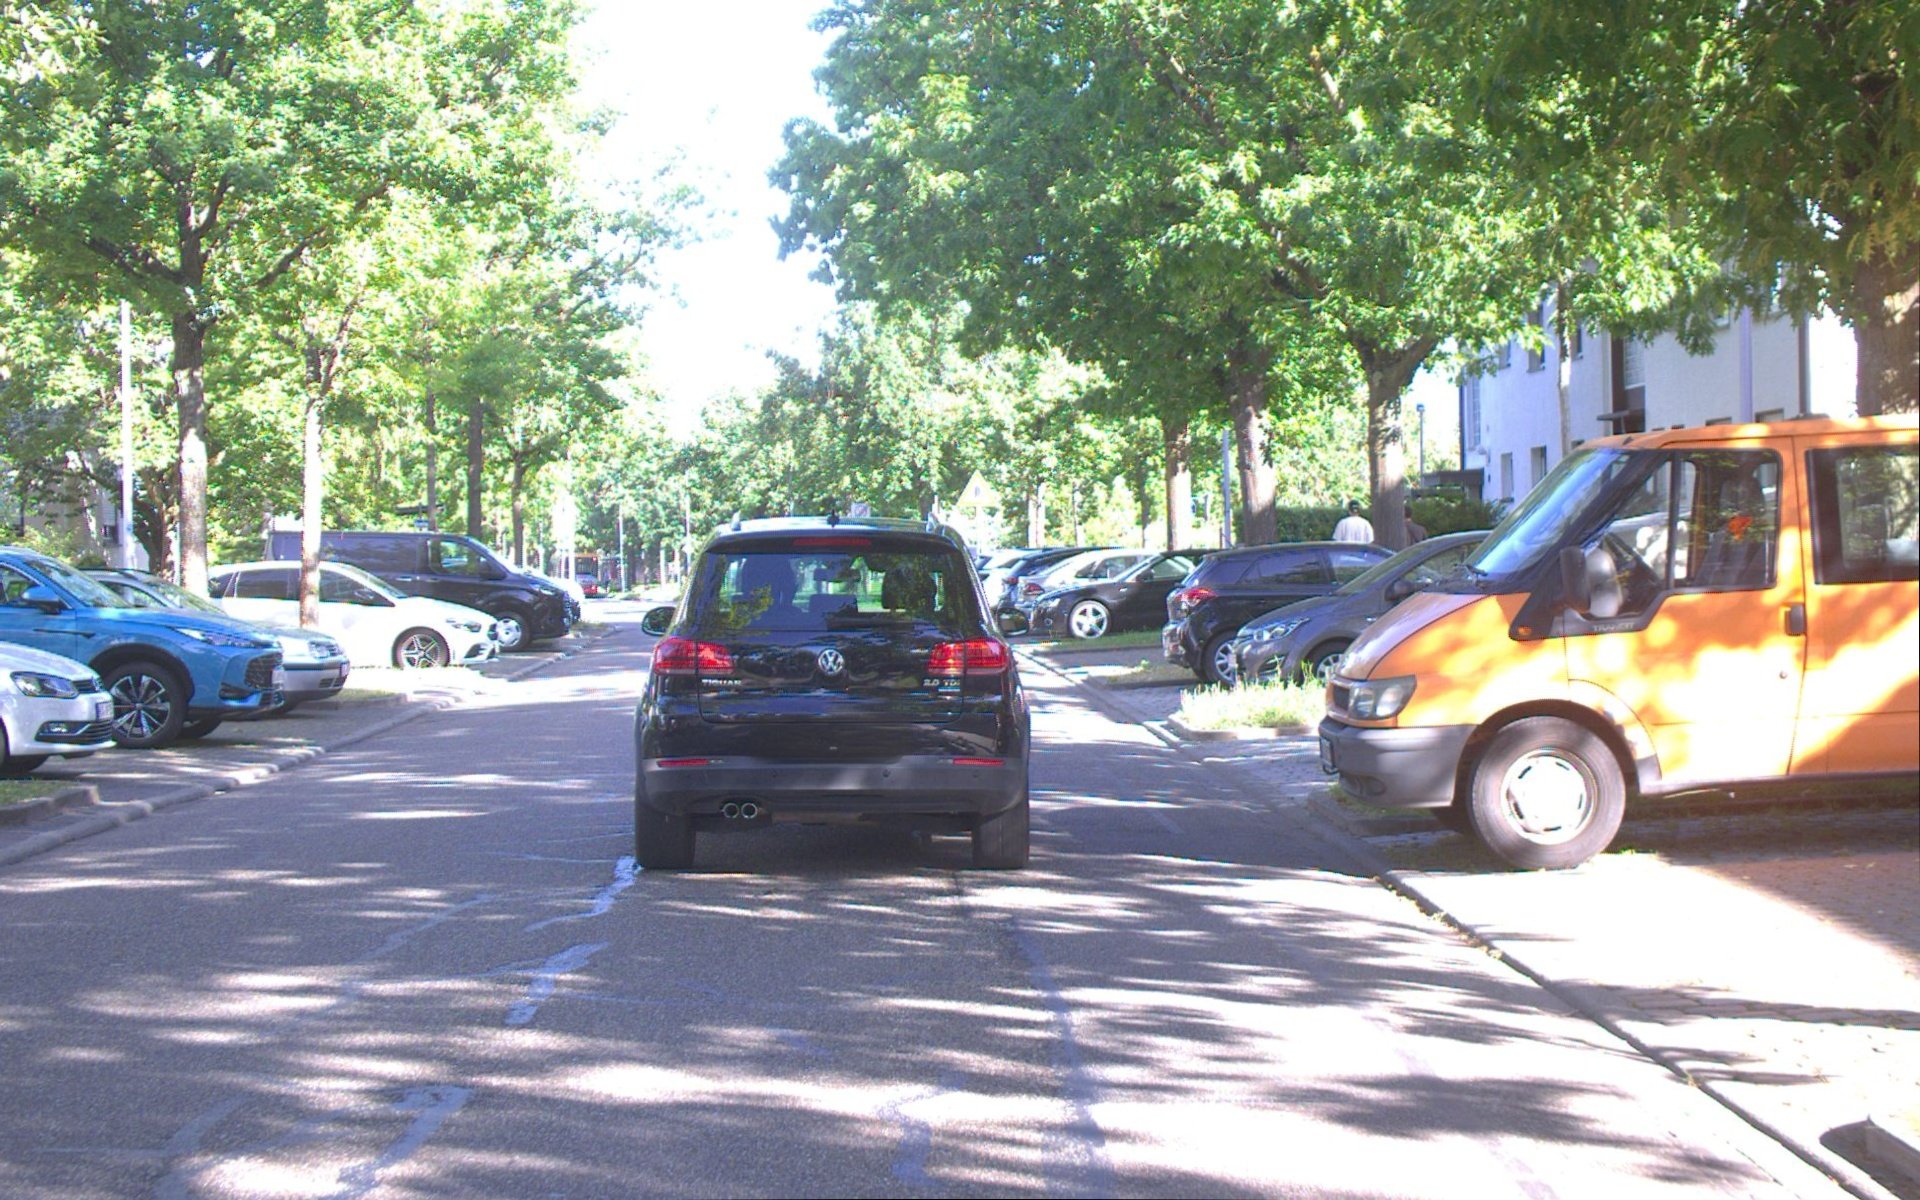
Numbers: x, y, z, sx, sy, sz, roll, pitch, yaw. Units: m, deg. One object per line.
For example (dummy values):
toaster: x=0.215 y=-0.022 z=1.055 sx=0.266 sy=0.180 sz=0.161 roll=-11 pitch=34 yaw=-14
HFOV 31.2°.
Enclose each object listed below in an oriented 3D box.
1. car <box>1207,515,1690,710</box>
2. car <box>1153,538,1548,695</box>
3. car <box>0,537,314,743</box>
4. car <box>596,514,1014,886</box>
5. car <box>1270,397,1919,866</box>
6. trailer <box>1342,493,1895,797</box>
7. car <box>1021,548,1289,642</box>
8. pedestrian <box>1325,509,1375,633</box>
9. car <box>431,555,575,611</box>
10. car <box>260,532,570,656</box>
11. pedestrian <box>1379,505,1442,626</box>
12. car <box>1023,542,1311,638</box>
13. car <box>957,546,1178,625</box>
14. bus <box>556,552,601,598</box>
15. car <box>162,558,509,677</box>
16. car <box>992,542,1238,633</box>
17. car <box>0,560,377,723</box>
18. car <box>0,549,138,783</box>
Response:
car: x=4.340 y=0.109 z=30.901 sx=3.986 sy=1.618 sz=1.757 roll=-1 pitch=0 yaw=-3
car: x=4.021 y=0.171 z=35.820 sx=3.882 sy=1.511 sz=1.661 roll=-1 pitch=0 yaw=-1
car: x=-7.876 y=0.355 z=28.878 sx=4.524 sy=1.625 sz=1.937 roll=-1 pitch=0 yaw=-1
car: x=-0.652 y=0.422 z=17.141 sx=1.838 sy=1.631 sz=3.958 roll=0 pitch=1 yaw=1
car: x=4.024 y=0.111 z=16.575 sx=4.818 sy=2.076 sz=2.086 roll=-1 pitch=1 yaw=-1
trailer: x=4.045 y=0.264 z=21.383 sx=2.945 sy=1.658 sz=1.615 roll=-3 pitch=0 yaw=-7
car: x=3.216 y=-0.095 z=57.234 sx=4.276 sy=1.409 sz=1.797 roll=-2 pitch=1 yaw=-1
pedestrian: x=5.962 y=-0.445 z=52.599 sx=0.608 sy=1.867 sz=0.924 roll=-1 pitch=0 yaw=0
car: x=-13.876 y=-0.523 z=104.555 sx=4.241 sy=1.617 sz=1.897 roll=-1 pitch=0 yaw=-6
car: x=-8.825 y=-0.113 z=56.004 sx=4.778 sy=1.910 sz=2.019 roll=-1 pitch=1 yaw=-3
pedestrian: x=6.889 y=-0.526 z=52.597 sx=0.835 sy=1.822 sz=0.710 roll=-1 pitch=0 yaw=0
car: x=3.235 y=-0.153 z=54.380 sx=4.345 sy=1.358 sz=1.874 roll=-2 pitch=0 yaw=-2
car: x=2.189 y=-0.303 z=70.879 sx=4.428 sy=1.486 sz=1.797 roll=-2 pitch=1 yaw=-1
bus: x=-25.765 y=-1.690 z=232.513 sx=2.928 sy=2.993 sz=5.738 roll=-1 pitch=0 yaw=-6
car: x=-8.220 y=0.220 z=45.502 sx=4.275 sy=1.473 sz=1.769 roll=-1 pitch=1 yaw=-1
car: x=2.772 y=-0.236 z=62.188 sx=4.276 sy=1.498 sz=1.797 roll=-2 pitch=1 yaw=-1
car: x=-7.946 y=0.406 z=33.658 sx=4.182 sy=1.487 sz=1.647 roll=-1 pitch=0 yaw=-1
car: x=-8.072 y=0.491 z=24.448 sx=3.987 sy=1.590 sz=1.857 roll=-1 pitch=0 yaw=-1
